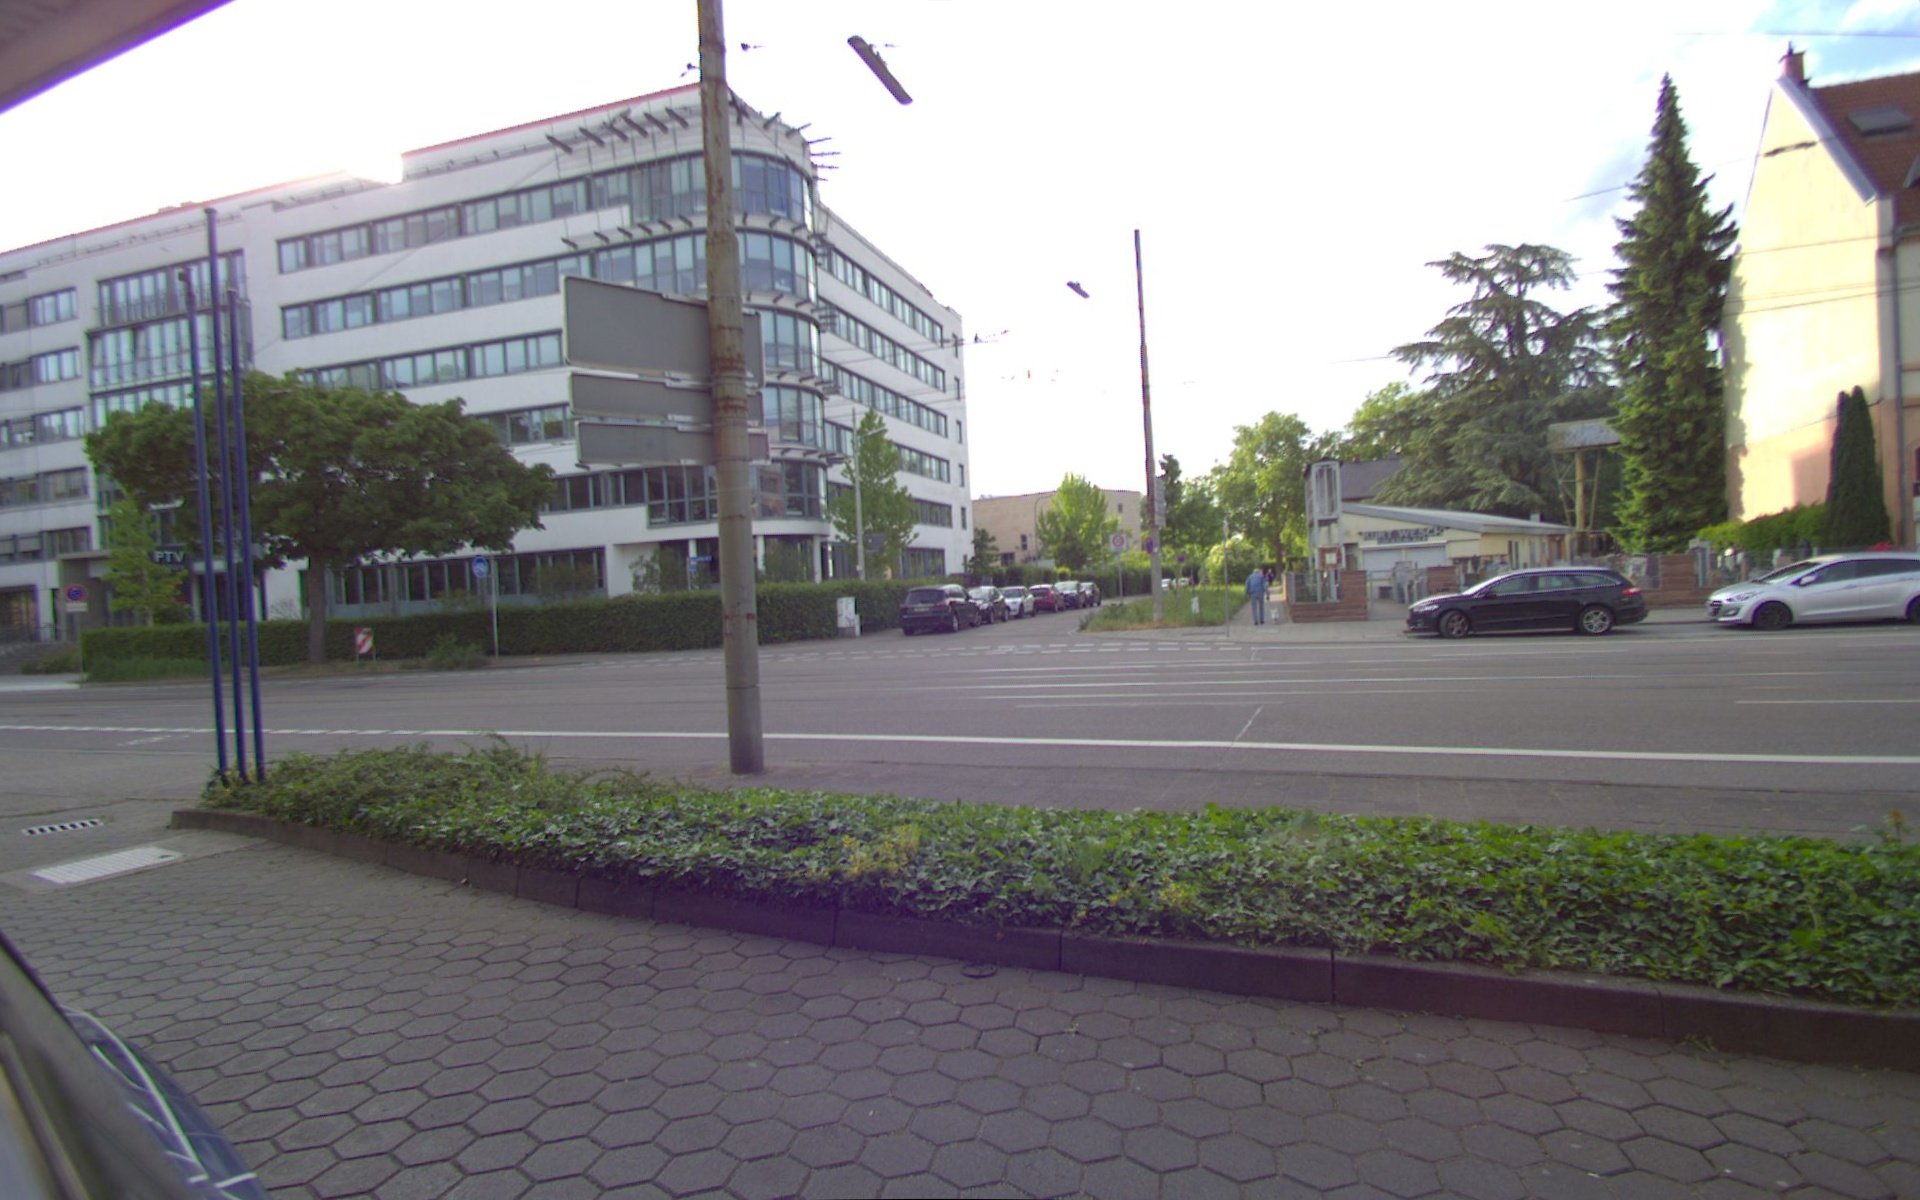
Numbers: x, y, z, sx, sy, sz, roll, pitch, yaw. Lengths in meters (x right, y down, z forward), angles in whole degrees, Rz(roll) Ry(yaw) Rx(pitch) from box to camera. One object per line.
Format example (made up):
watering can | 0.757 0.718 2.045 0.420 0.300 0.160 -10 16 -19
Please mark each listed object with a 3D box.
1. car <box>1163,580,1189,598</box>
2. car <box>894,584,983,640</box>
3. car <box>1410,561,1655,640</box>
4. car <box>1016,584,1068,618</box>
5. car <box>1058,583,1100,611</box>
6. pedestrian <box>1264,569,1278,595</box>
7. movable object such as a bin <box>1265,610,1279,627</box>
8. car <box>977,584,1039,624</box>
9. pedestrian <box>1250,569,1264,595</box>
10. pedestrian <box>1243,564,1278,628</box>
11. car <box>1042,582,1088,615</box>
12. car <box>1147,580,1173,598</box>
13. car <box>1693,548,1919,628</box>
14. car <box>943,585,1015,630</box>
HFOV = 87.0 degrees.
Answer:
car | 22.844 -1.150 106.855 1.813 1.654 4.040 -4 0 25
car | -0.678 0.358 35.567 1.807 1.701 4.370 -4 1 16
car | 13.021 0.009 23.368 4.632 1.533 1.842 -3 2 22
car | 4.309 0.024 52.408 1.807 1.589 4.175 -4 0 16
car | 7.394 -0.211 62.572 1.807 1.585 4.052 -4 0 16
pedestrian | 23.036 -1.350 74.983 0.965 1.896 1.056 -1 0 17
movable object such as a bin | 8.993 0.529 29.189 0.363 0.397 0.659 -2 4 17
car | 2.233 0.153 45.687 1.807 1.589 4.175 -4 0 16
pedestrian | 22.070 -1.338 75.297 0.965 1.896 1.056 -1 0 17
pedestrian | 8.654 -0.122 29.129 0.902 1.712 0.920 -2 6 18
car | 6.040 -0.134 57.806 1.807 1.704 4.392 -4 0 16
car | 19.967 -1.130 100.908 1.811 1.654 4.044 -4 0 22
car | 18.415 -0.266 21.398 4.349 1.493 1.732 -3 1 22
car | 0.839 0.271 40.982 1.807 1.589 4.175 -4 0 16
